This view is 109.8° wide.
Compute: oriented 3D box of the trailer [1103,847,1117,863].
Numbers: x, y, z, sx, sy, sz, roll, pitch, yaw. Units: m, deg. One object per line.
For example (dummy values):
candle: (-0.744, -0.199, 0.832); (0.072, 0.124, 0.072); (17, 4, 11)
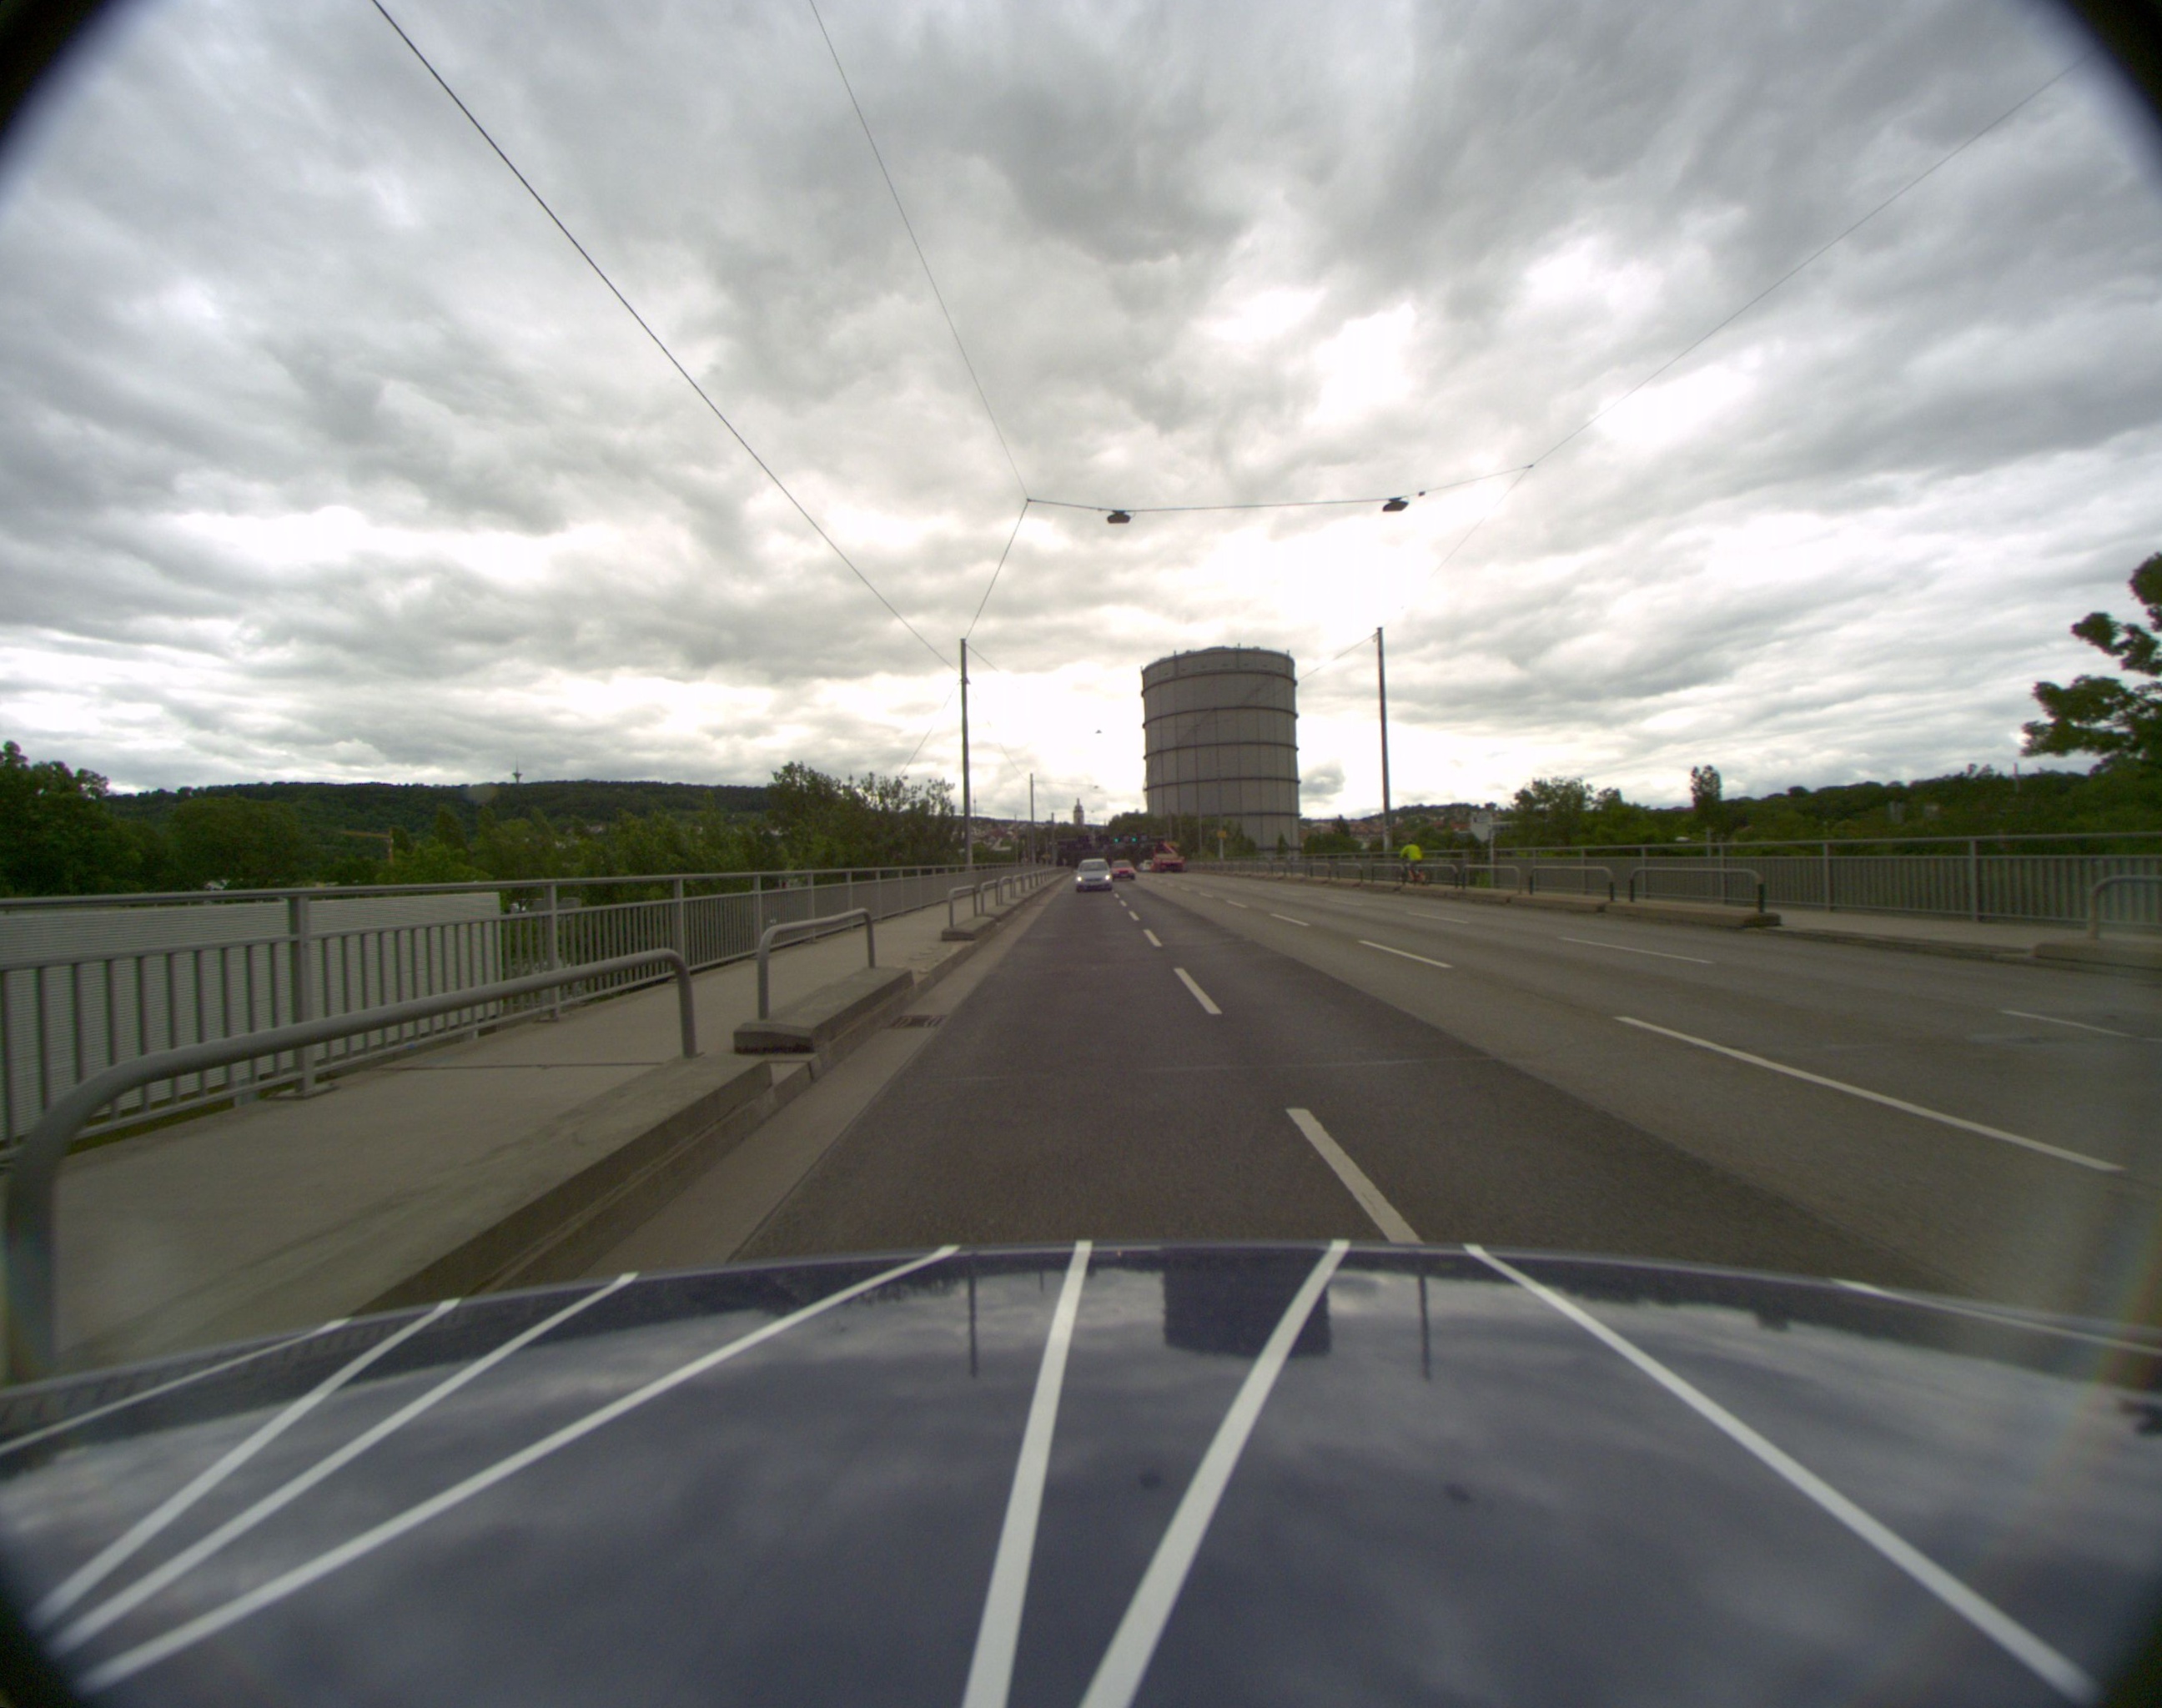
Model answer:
trailer: (8.656, 0.324, 226.707); (3.669, 4.295, 13.784); (1, -1, 0)

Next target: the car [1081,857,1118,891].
car: (0.926, 1.004, 38.307); (1.747, 1.594, 3.683); (-2, -1, 1)

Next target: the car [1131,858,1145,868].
car: (8.813, 1.472, 118.221); (1.840, 1.495, 4.517); (-1, -1, 0)

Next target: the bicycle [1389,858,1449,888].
bicycle: (12.681, 0.700, 28.654); (0.920, 1.044, 2.800); (-2, 0, -1)

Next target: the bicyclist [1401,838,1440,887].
bicyclist: (12.699, 0.309, 28.448); (0.905, 1.754, 1.136); (-2, 0, -2)

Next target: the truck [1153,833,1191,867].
truck: (10.115, -0.362, 85.608); (3.013, 3.544, 9.984); (-1, -1, 0)

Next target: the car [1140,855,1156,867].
car: (9.615, 1.042, 109.889); (1.884, 1.750, 4.803); (-1, -1, 0)

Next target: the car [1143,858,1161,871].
car: (9.077, 1.317, 97.375); (1.884, 1.593, 4.016); (-1, -1, 0)

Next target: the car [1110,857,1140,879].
car: (3.122, 1.027, 54.619); (1.747, 1.454, 3.955); (-1, -1, -2)
